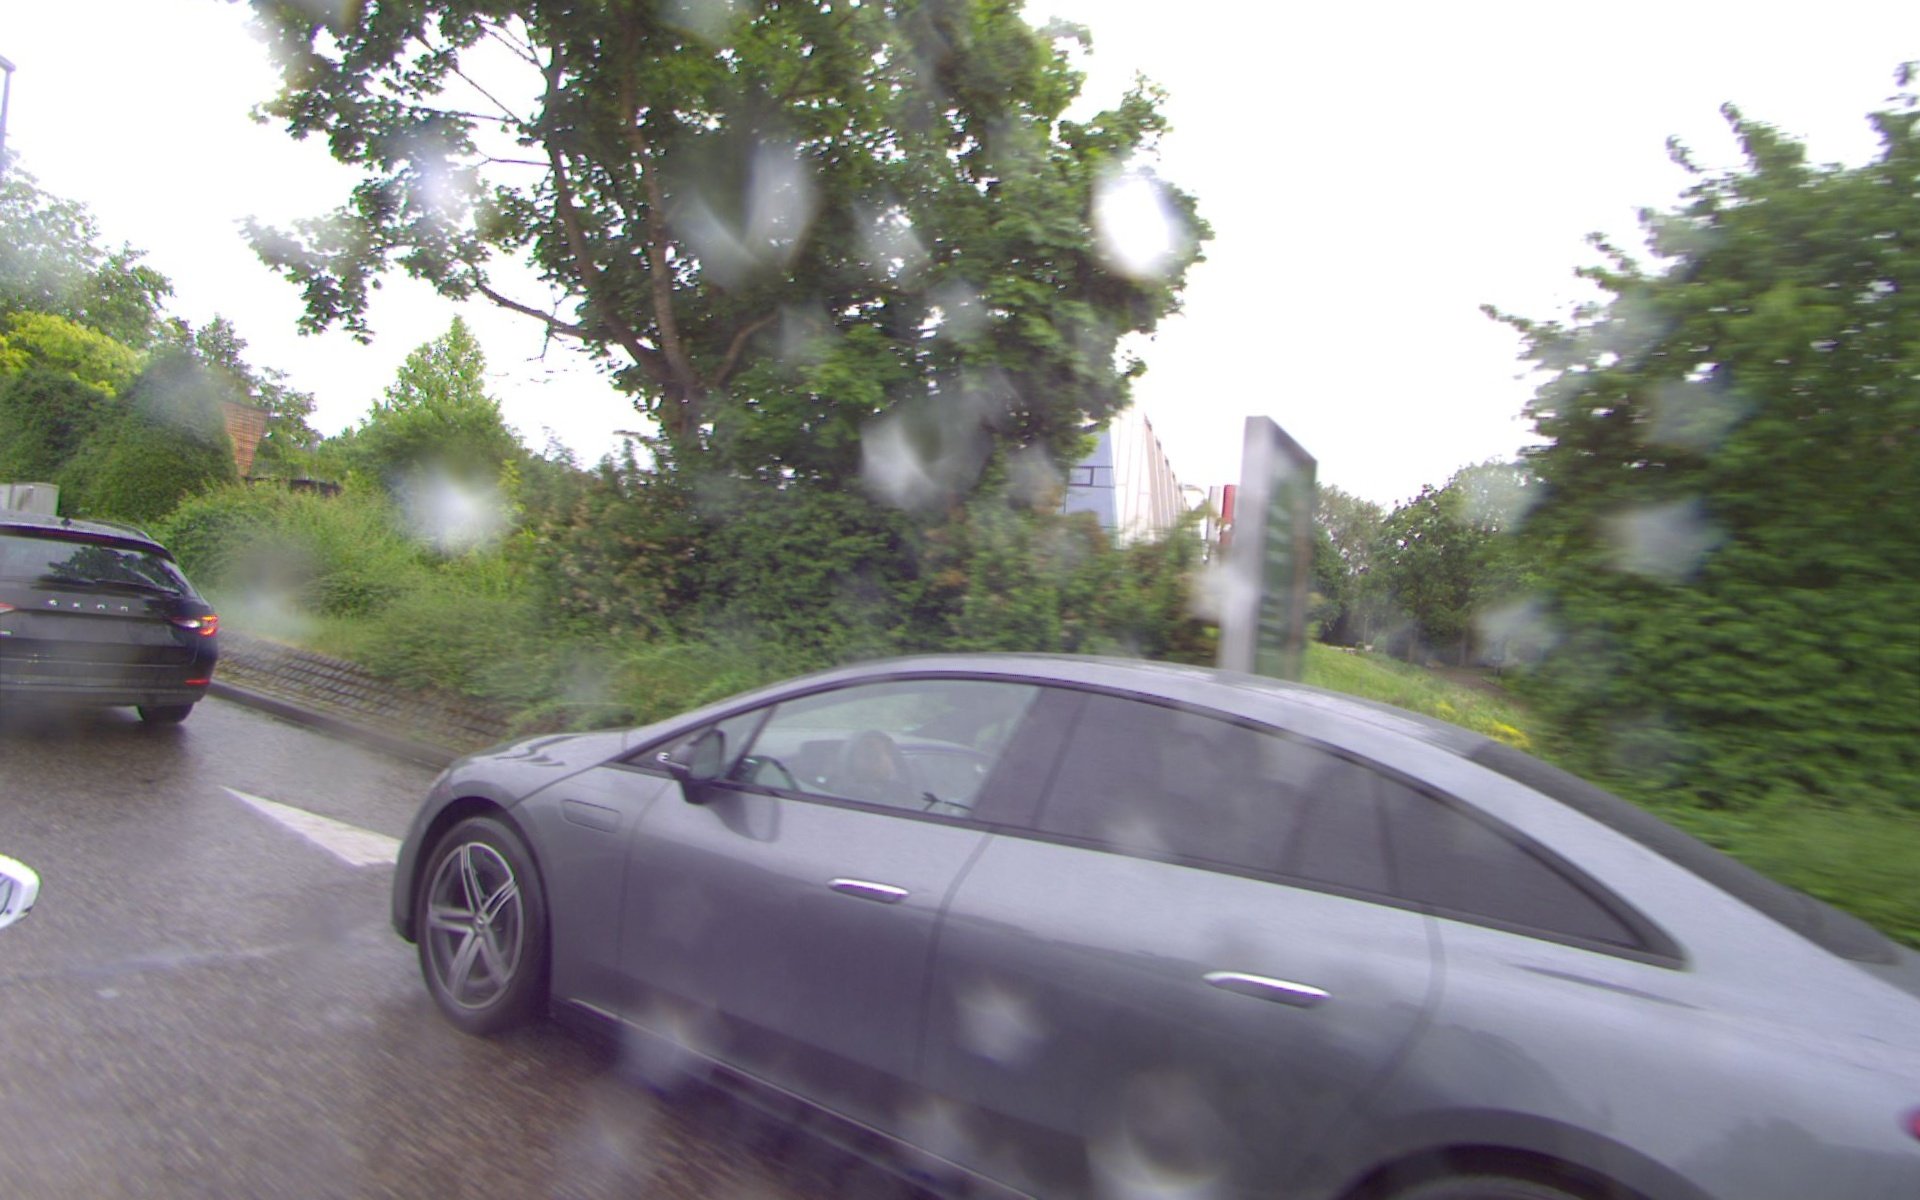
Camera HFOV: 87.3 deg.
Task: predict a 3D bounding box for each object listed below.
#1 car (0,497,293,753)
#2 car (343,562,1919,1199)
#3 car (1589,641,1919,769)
[{"bbox_3d":[-7.348,0.030,7.718,4.534,1.524,1.958,6,-3,33],"label":"car"},{"bbox_3d":[0.232,0.887,3.234,4.475,1.460,1.835,6,-2,32],"label":"car"},{"bbox_3d":[20.594,2.614,25.946,6.637,2.302,2.797,6,1,11],"label":"car"}]
